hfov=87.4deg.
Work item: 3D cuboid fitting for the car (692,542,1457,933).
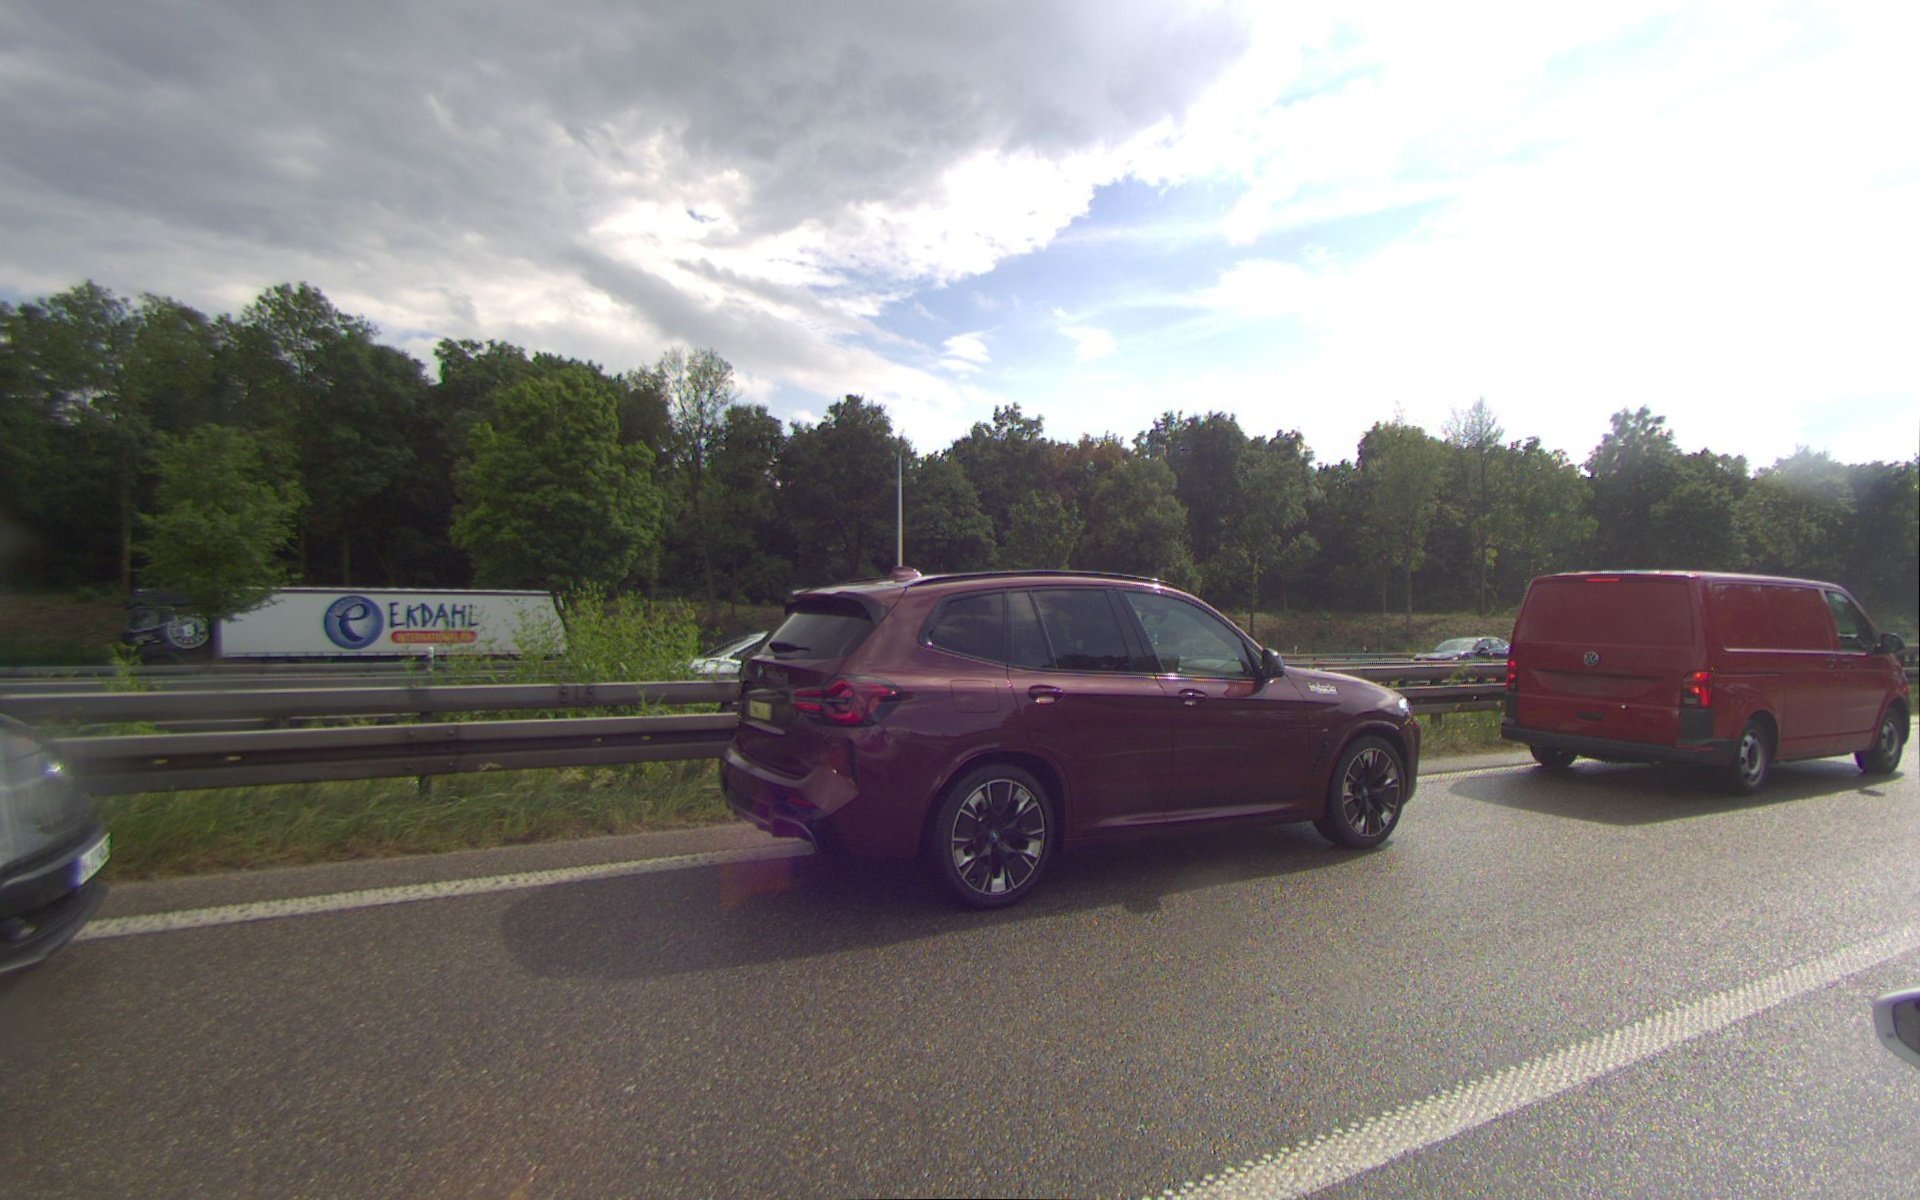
[{"bbox_3d":[0.870,0.653,6.287,4.565,1.658,1.899,2,-1,-32],"label":"car"}]

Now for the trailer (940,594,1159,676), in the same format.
[{"bbox_3d":[4.986,1.962,56.111,11.538,4.171,3.786,2,0,-17],"label":"trailer"}]

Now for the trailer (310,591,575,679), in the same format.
[{"bbox_3d":[-23.278,1.619,46.054,10.349,3.697,3.780,1,-1,-24],"label":"trailer"}]

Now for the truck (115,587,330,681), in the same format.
[{"bbox_3d":[-30.907,1.424,42.556,6.615,3.709,3.776,2,0,-25],"label":"truck"}]

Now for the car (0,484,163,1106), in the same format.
[{"bbox_3d":[-4.802,0.515,2.697,3.931,1.829,1.683,2,0,-32],"label":"car"}]

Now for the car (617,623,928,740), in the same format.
[{"bbox_3d":[-3.335,1.392,18.255,5.150,1.799,2.041,2,0,-31],"label":"car"}]

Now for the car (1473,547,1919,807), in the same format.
[{"bbox_3d":[7.516,0.674,10.076,4.700,2.082,1.969,2,0,-30],"label":"car"}]

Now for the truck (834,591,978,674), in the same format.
[{"bbox_3d":[-2.932,1.715,53.643,6.933,4.171,3.786,2,0,-17],"label":"truck"}]

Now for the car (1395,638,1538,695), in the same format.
[{"bbox_3d":[17.723,2.280,35.100,5.150,1.799,2.041,2,0,-31],"label":"car"}]
